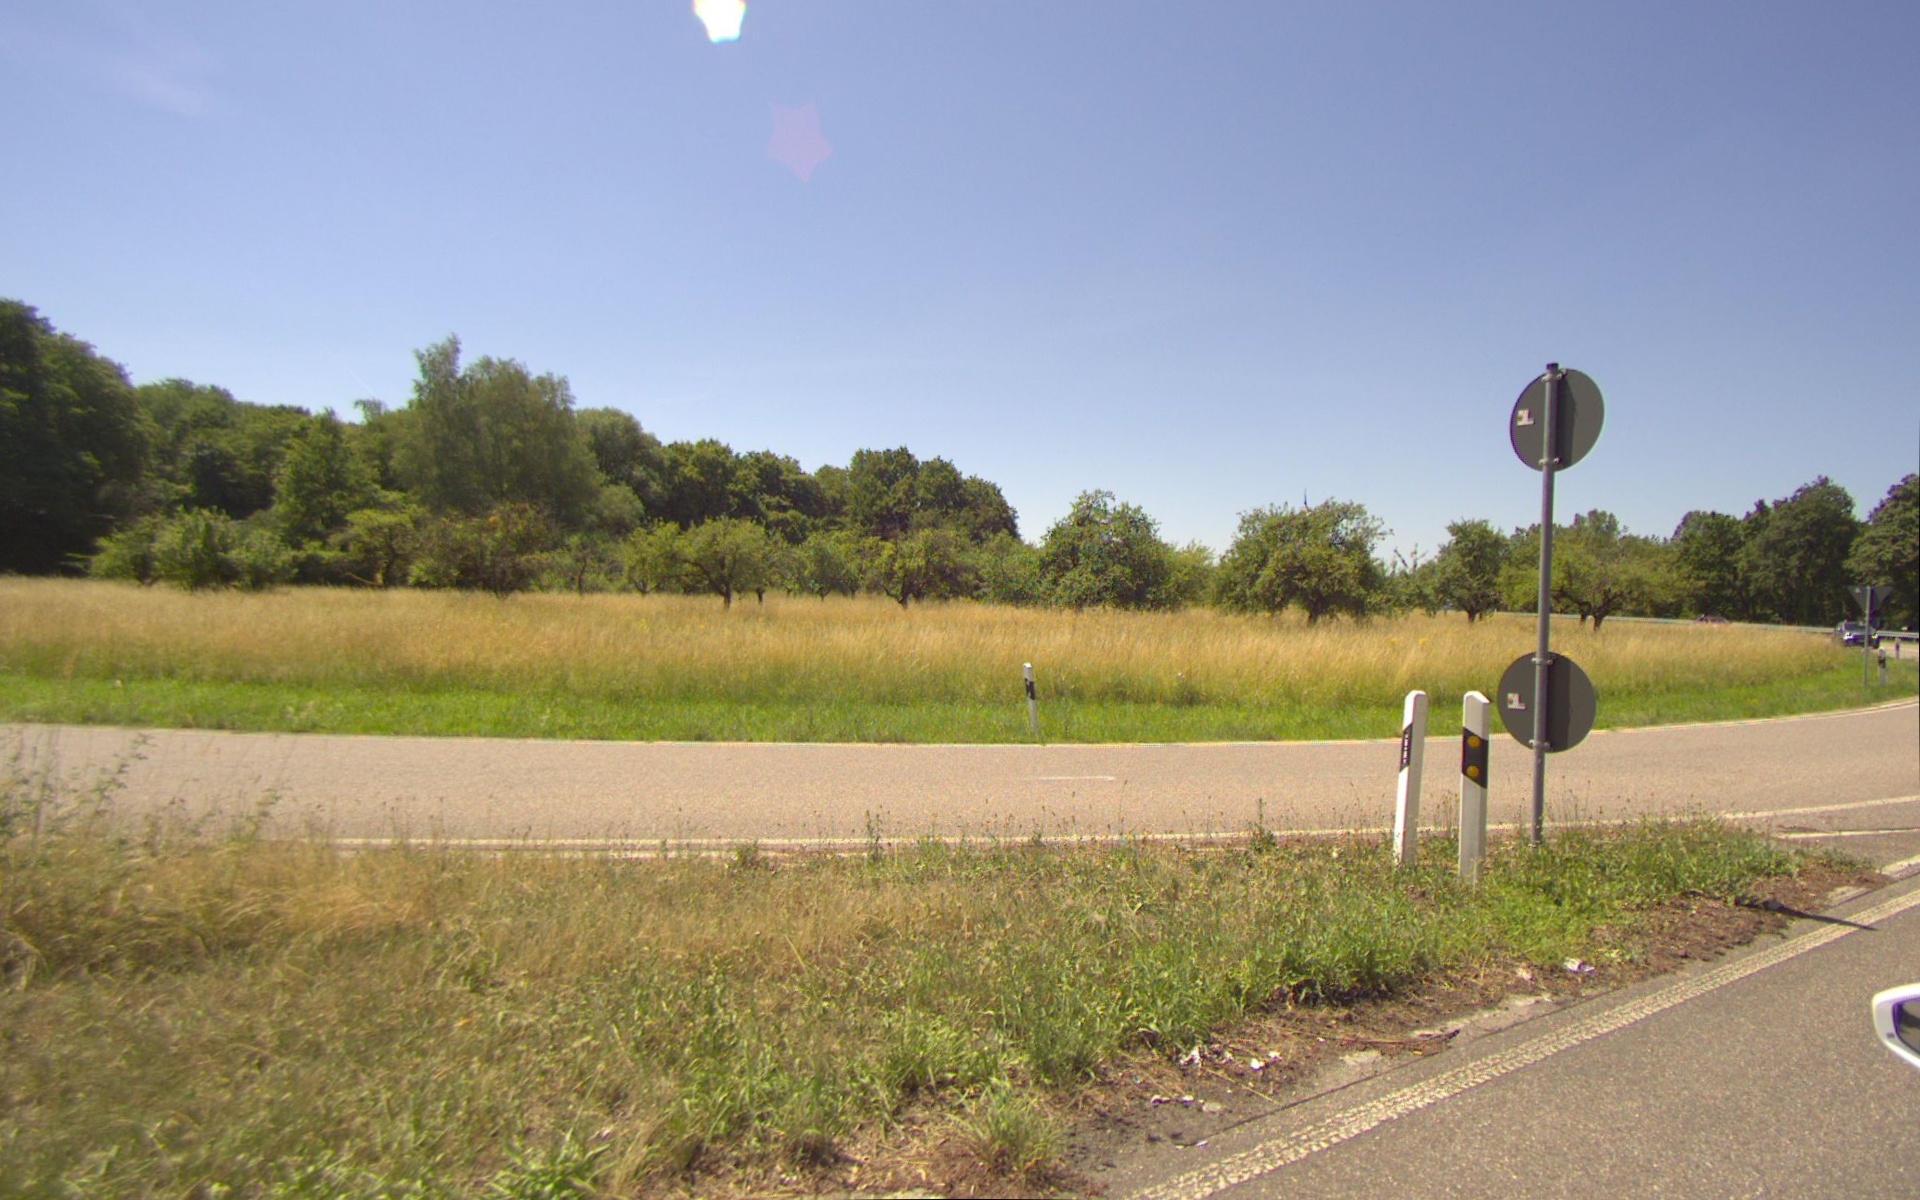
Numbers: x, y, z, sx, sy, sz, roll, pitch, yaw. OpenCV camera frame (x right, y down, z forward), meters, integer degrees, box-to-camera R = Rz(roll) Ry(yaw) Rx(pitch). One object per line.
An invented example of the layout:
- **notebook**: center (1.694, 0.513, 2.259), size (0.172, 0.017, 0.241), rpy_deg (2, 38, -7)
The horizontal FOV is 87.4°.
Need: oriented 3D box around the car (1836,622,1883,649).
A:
- **car**: center (52.833, 2.088, 59.045), size (1.713, 1.527, 4.057), rpy_deg (1, -1, 37)
